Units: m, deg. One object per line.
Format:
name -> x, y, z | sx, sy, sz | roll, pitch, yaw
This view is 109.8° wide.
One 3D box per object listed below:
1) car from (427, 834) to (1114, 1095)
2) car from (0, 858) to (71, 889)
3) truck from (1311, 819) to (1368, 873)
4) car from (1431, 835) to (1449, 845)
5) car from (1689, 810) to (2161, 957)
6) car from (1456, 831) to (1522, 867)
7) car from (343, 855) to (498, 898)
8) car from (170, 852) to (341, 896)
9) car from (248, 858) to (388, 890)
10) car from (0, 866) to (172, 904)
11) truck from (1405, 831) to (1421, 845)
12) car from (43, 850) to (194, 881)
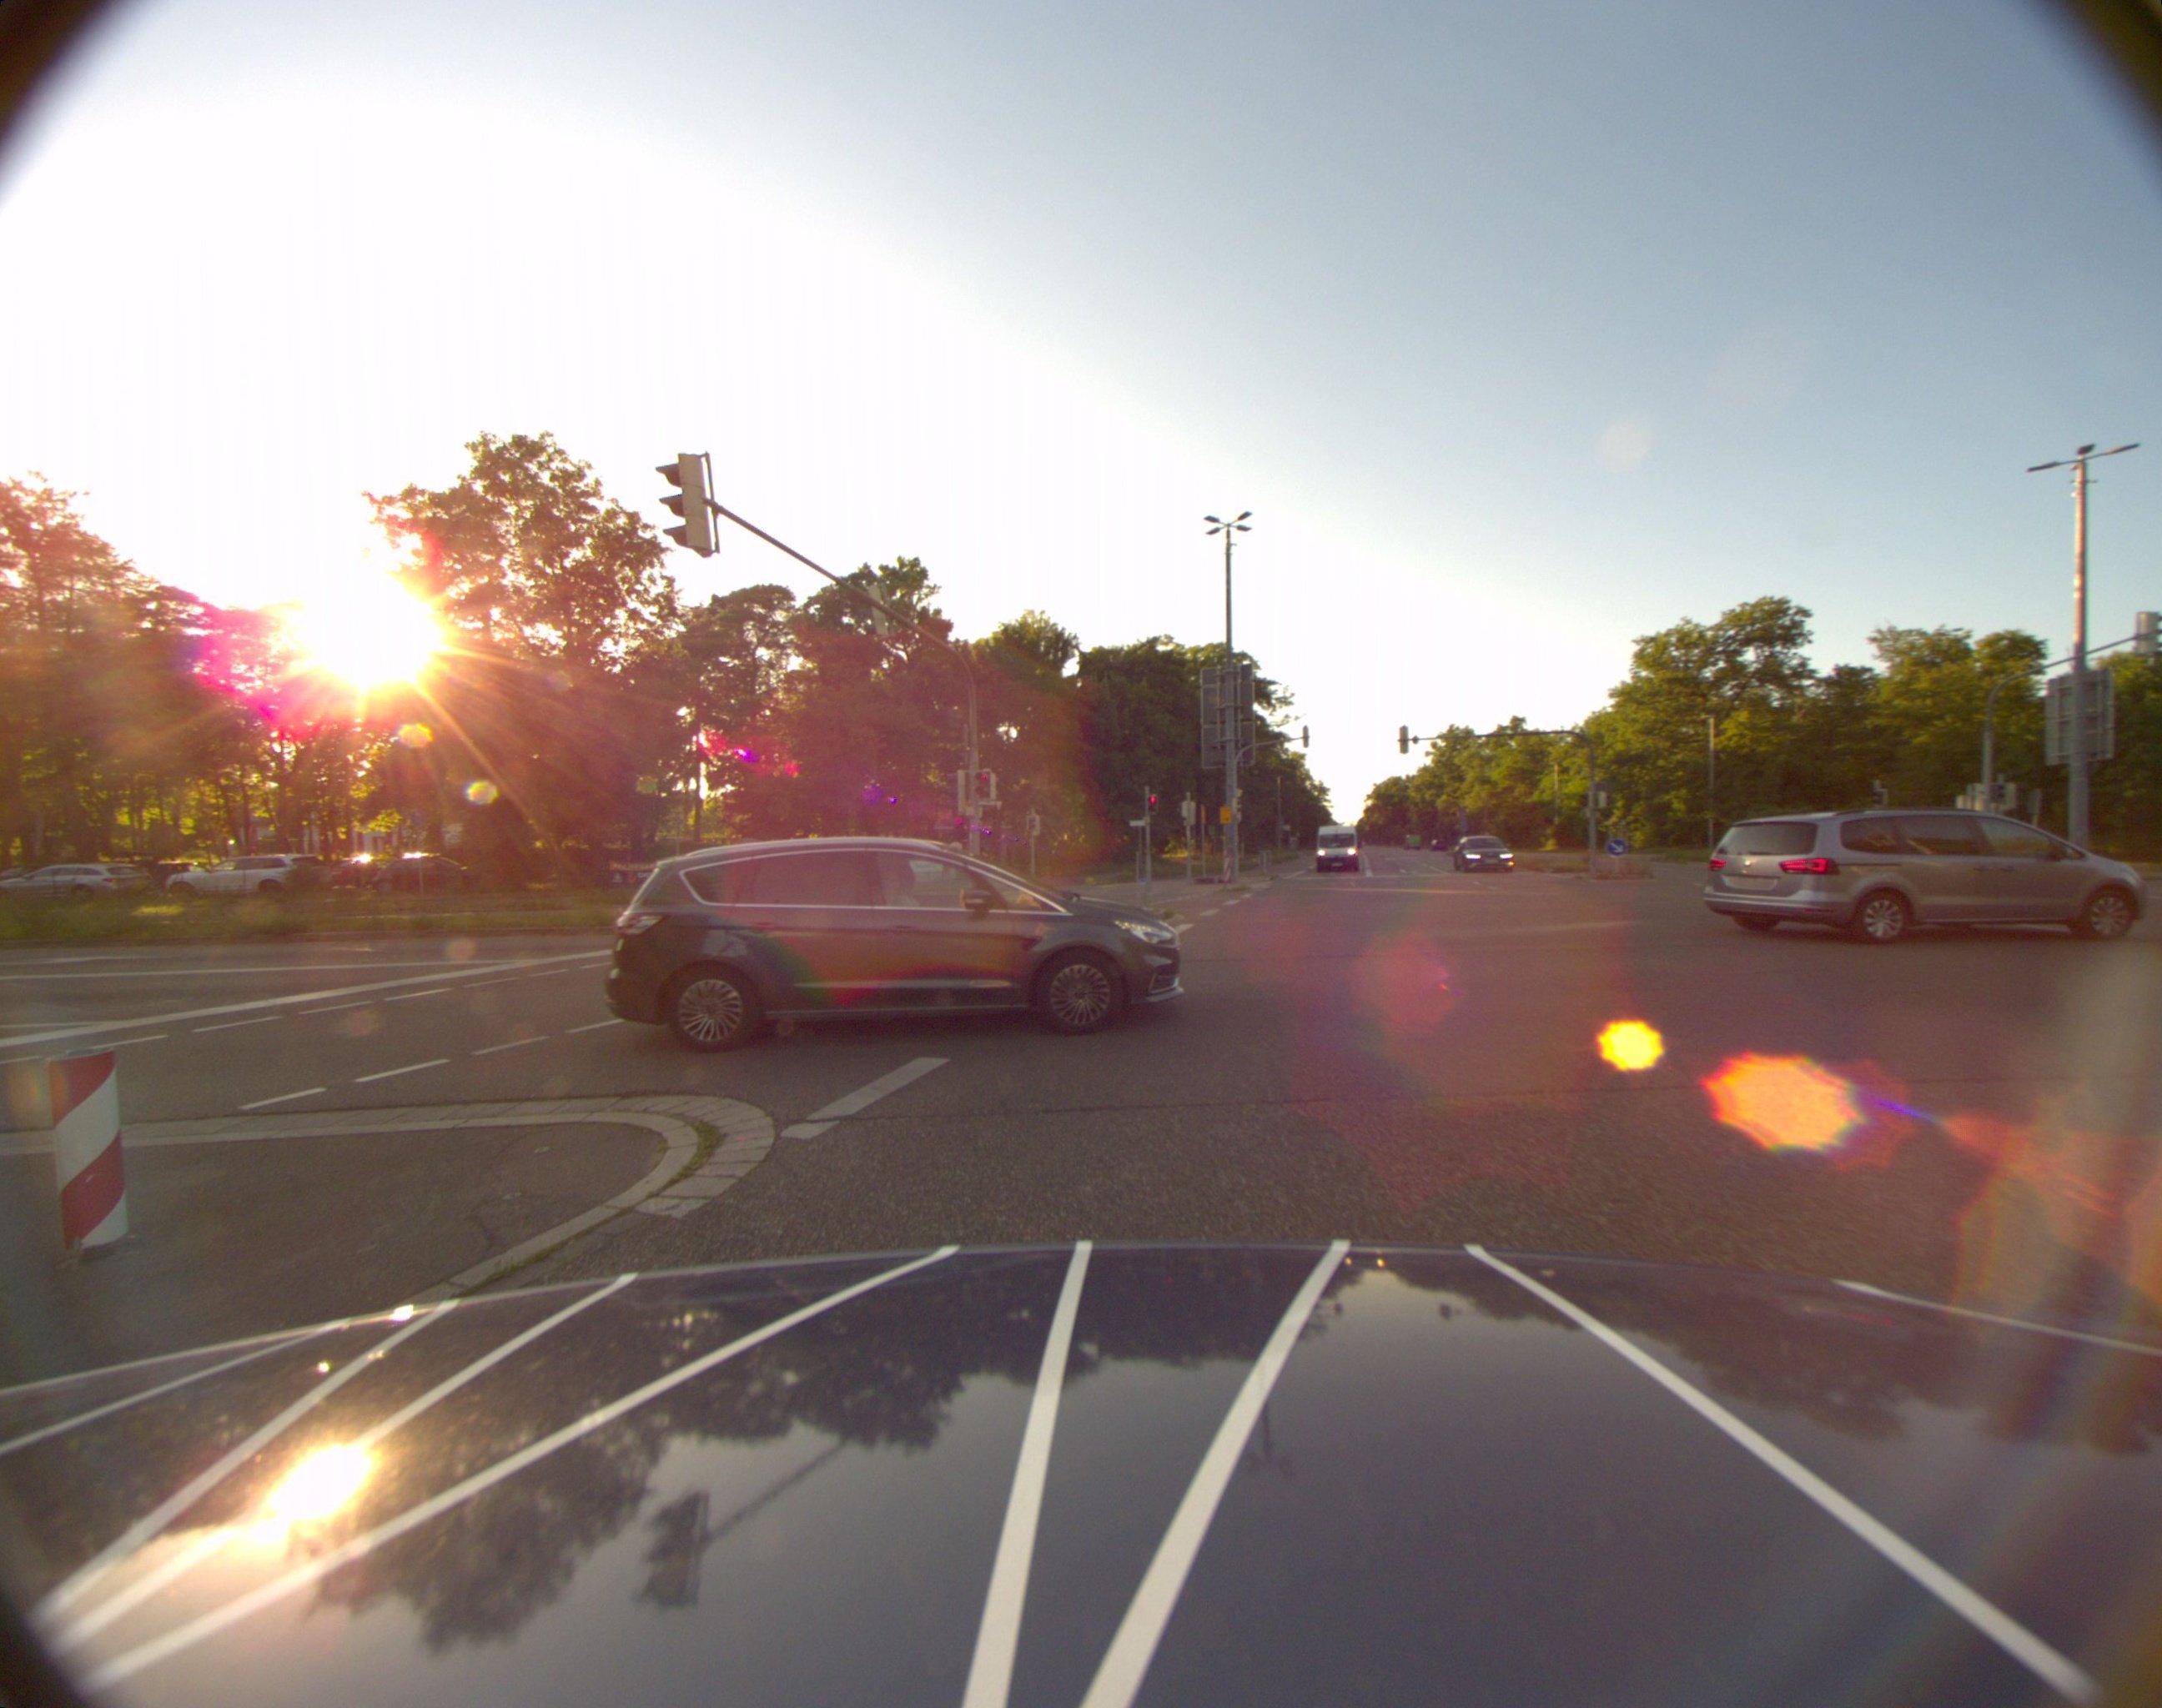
car -> -2.276, 0.754, 6.638 | 4.820, 1.652, 2.011 | -3, 2, -6
car -> -53.028, 0.976, 37.011 | 4.547, 1.399, 1.864 | -1, 1, -8
truck -> 13.808, -0.431, 40.750 | 2.600, 2.542, 6.031 | -3, 0, 18
car -> 49.378, -1.928, 104.632 | 1.661, 1.320, 4.050 | 0, 3, 17
car -> 11.295, 0.339, 10.315 | 4.657, 1.715, 1.871 | -1, 2, -2
car -> 18.151, -0.241, 33.980 | 1.998, 1.511, 4.005 | -1, 1, 19
car -> -27.668, 0.893, 32.020 | 4.551, 1.649, 1.862 | -1, 1, -18
car -> -33.949, 0.788, 31.372 | 4.547, 1.649, 1.864 | -1, 1, -8
car -> -37.126, 0.946, 37.088 | 4.547, 1.399, 1.864 | -1, 1, -8
car -> -40.045, 1.231, 30.680 | 4.000, 1.324, 1.864 | -1, 1, -8
truck -> 54.061, -2.609, 123.657 | 1.996, 2.109, 4.004 | 0, 1, 17
car -> -47.461, 0.544, 37.563 | 4.547, 1.399, 1.864 | -1, 1, -8
